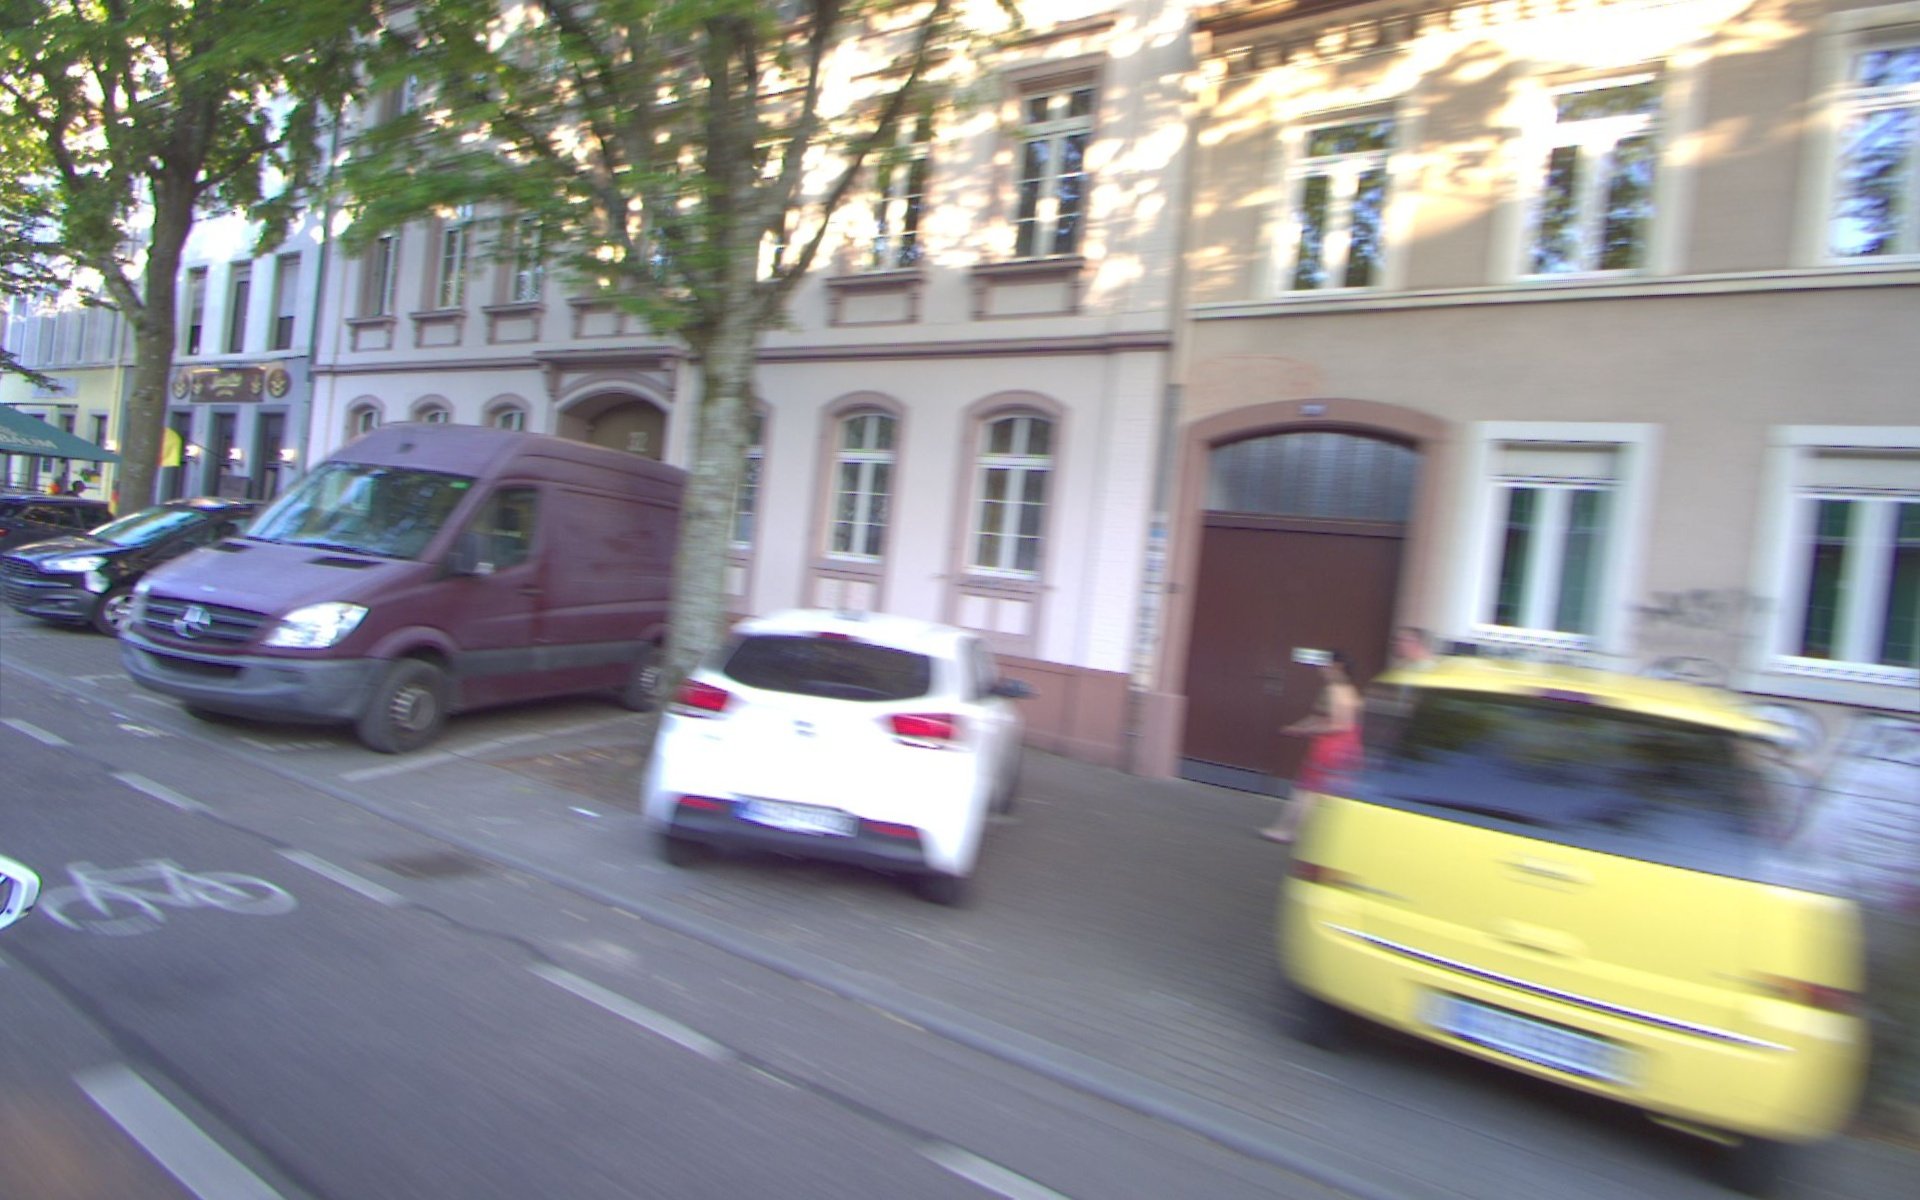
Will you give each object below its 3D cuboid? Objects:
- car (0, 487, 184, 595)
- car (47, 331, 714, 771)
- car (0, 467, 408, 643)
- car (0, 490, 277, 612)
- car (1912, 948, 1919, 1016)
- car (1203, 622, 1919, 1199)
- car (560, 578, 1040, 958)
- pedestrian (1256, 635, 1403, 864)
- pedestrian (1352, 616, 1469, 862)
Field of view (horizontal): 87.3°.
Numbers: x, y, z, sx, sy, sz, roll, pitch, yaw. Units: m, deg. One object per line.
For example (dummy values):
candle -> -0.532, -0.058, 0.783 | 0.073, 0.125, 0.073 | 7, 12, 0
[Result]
car -> -14.960, -0.985, 15.757 | 1.970, 1.517, 4.190 | 6, 0, 7
car -> -4.470, -0.323, 9.008 | 1.983, 2.677, 5.111 | 6, 1, 15
car -> -9.521, -0.459, 12.773 | 1.785, 1.729, 4.022 | 6, 0, 25
car -> -12.746, -0.714, 14.709 | 1.970, 1.481, 4.189 | 6, 0, 16
car -> 5.775, 1.534, 3.106 | 1.884, 1.443, 4.135 | 6, 0, 6
car -> 2.804, 1.085, 4.878 | 1.889, 1.640, 3.953 | 6, 1, 32
car -> -0.603, 0.758, 6.520 | 1.884, 1.505, 3.963 | 6, 0, 8
pedestrian -> 2.861, 1.122, 7.785 | 0.800, 1.587, 0.538 | 7, 1, 33
pedestrian -> 3.633, 1.088, 8.095 | 0.597, 1.837, 0.566 | 7, 1, 31
